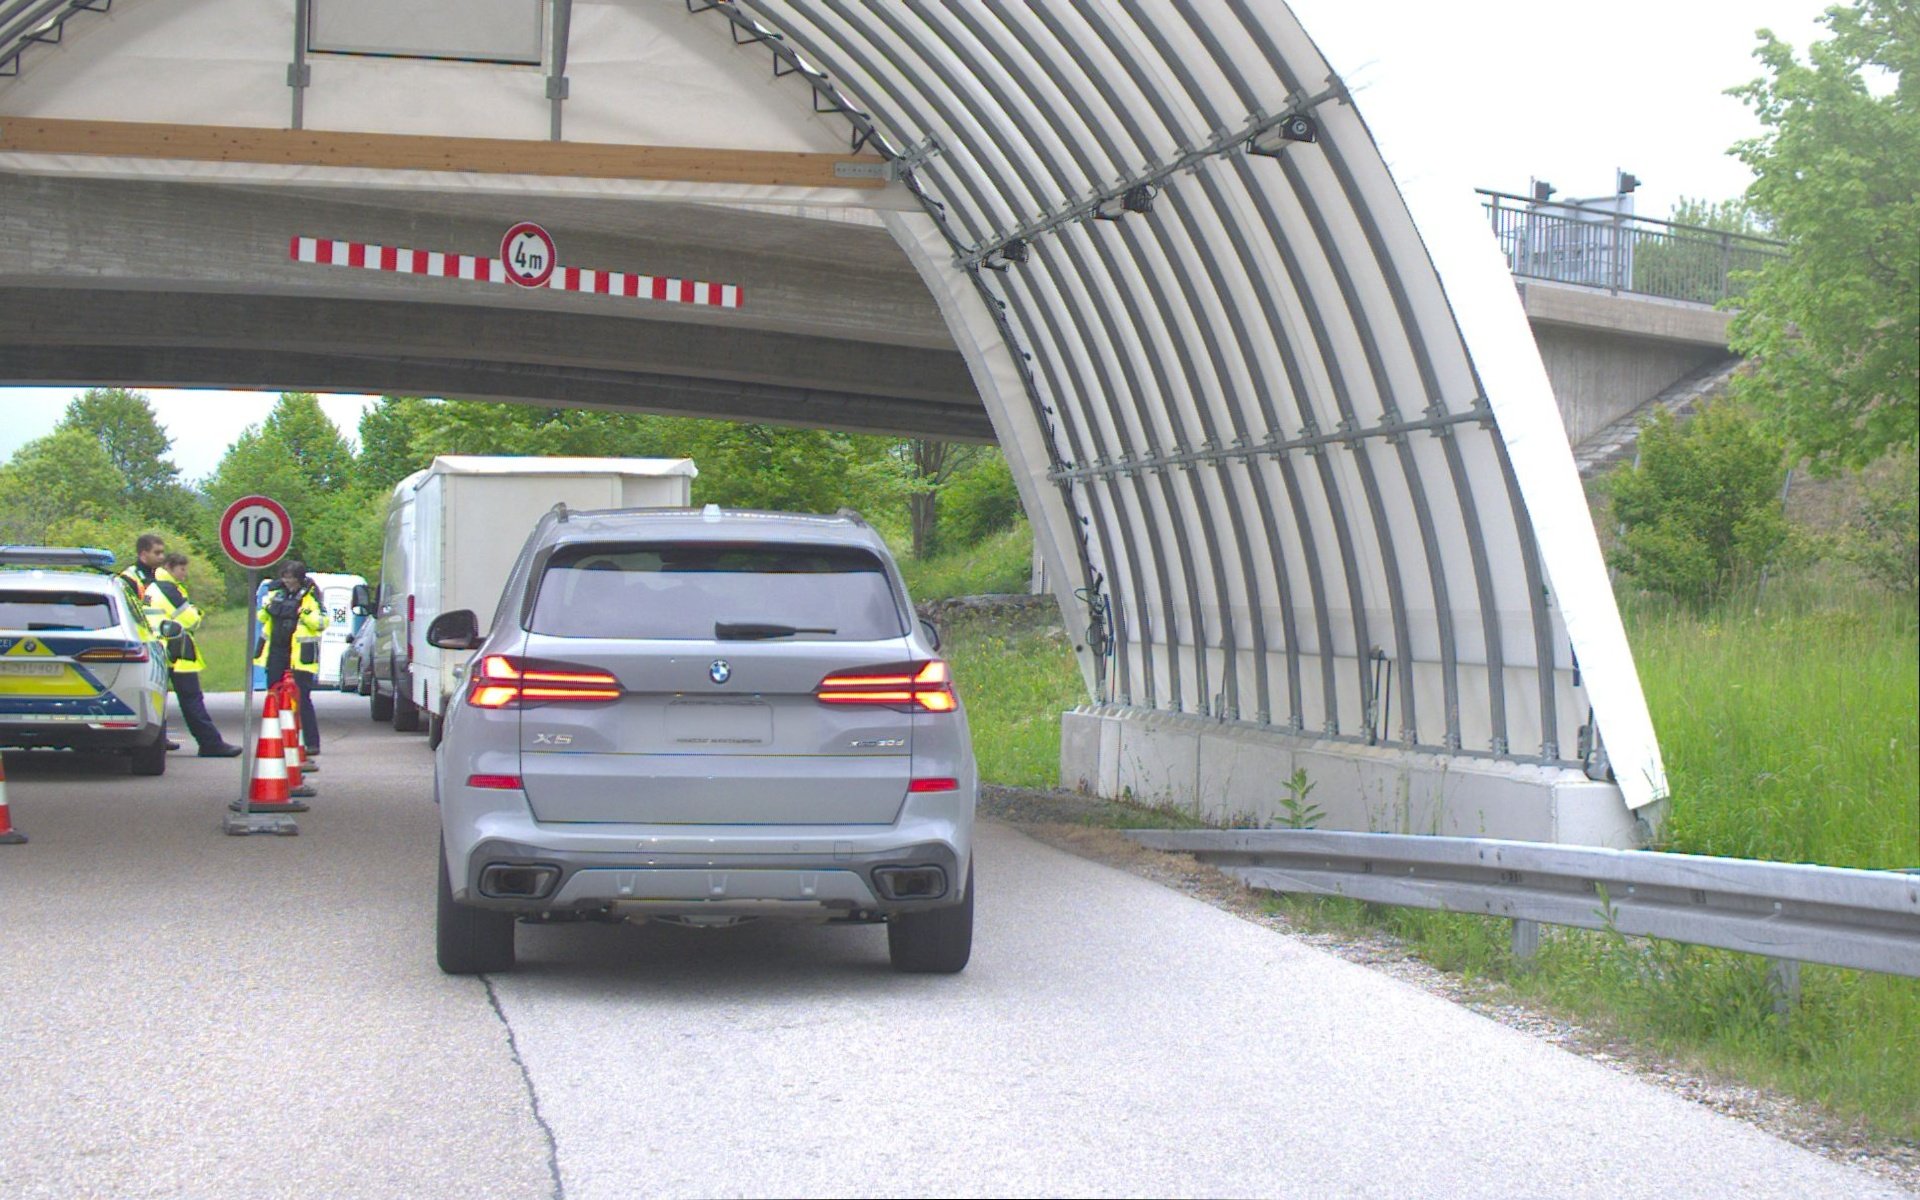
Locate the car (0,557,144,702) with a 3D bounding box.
[{"bbox_3d":[-14.183,0.403,48.636,4.807,2.007,1.840,0,0,7],"label":"car"}]

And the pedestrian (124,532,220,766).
[{"bbox_3d":[-6.551,0.396,28.553,0.749,1.912,0.763,0,0,-15],"label":"pedestrian"}]

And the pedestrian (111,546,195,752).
[{"bbox_3d":[-6.939,0.412,29.583,0.609,1.748,0.666,0,0,-6],"label":"pedestrian"}]

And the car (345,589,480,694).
[{"bbox_3d":[-9.314,0.676,58.303,1.993,1.716,3.897,0,0,-13],"label":"car"}]

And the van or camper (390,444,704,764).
[{"bbox_3d":[-3.835,0.021,30.790,2.229,2.544,6.612,0,0,-12],"label":"van or camper"}]

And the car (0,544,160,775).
[{"bbox_3d":[-7.155,0.417,26.368,1.877,1.641,4.001,0,0,-14],"label":"car"}]

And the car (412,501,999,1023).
[{"bbox_3d":[-1.172,0.538,13.730,1.993,1.759,4.001,0,0,-9],"label":"car"}]

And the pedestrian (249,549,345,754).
[{"bbox_3d":[-5.658,0.428,29.314,0.754,1.716,0.782,0,0,-14],"label":"pedestrian"}]

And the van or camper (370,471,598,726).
[{"bbox_3d":[-5.183,-0.024,36.835,2.103,2.510,5.552,0,0,-11],"label":"van or camper"}]
